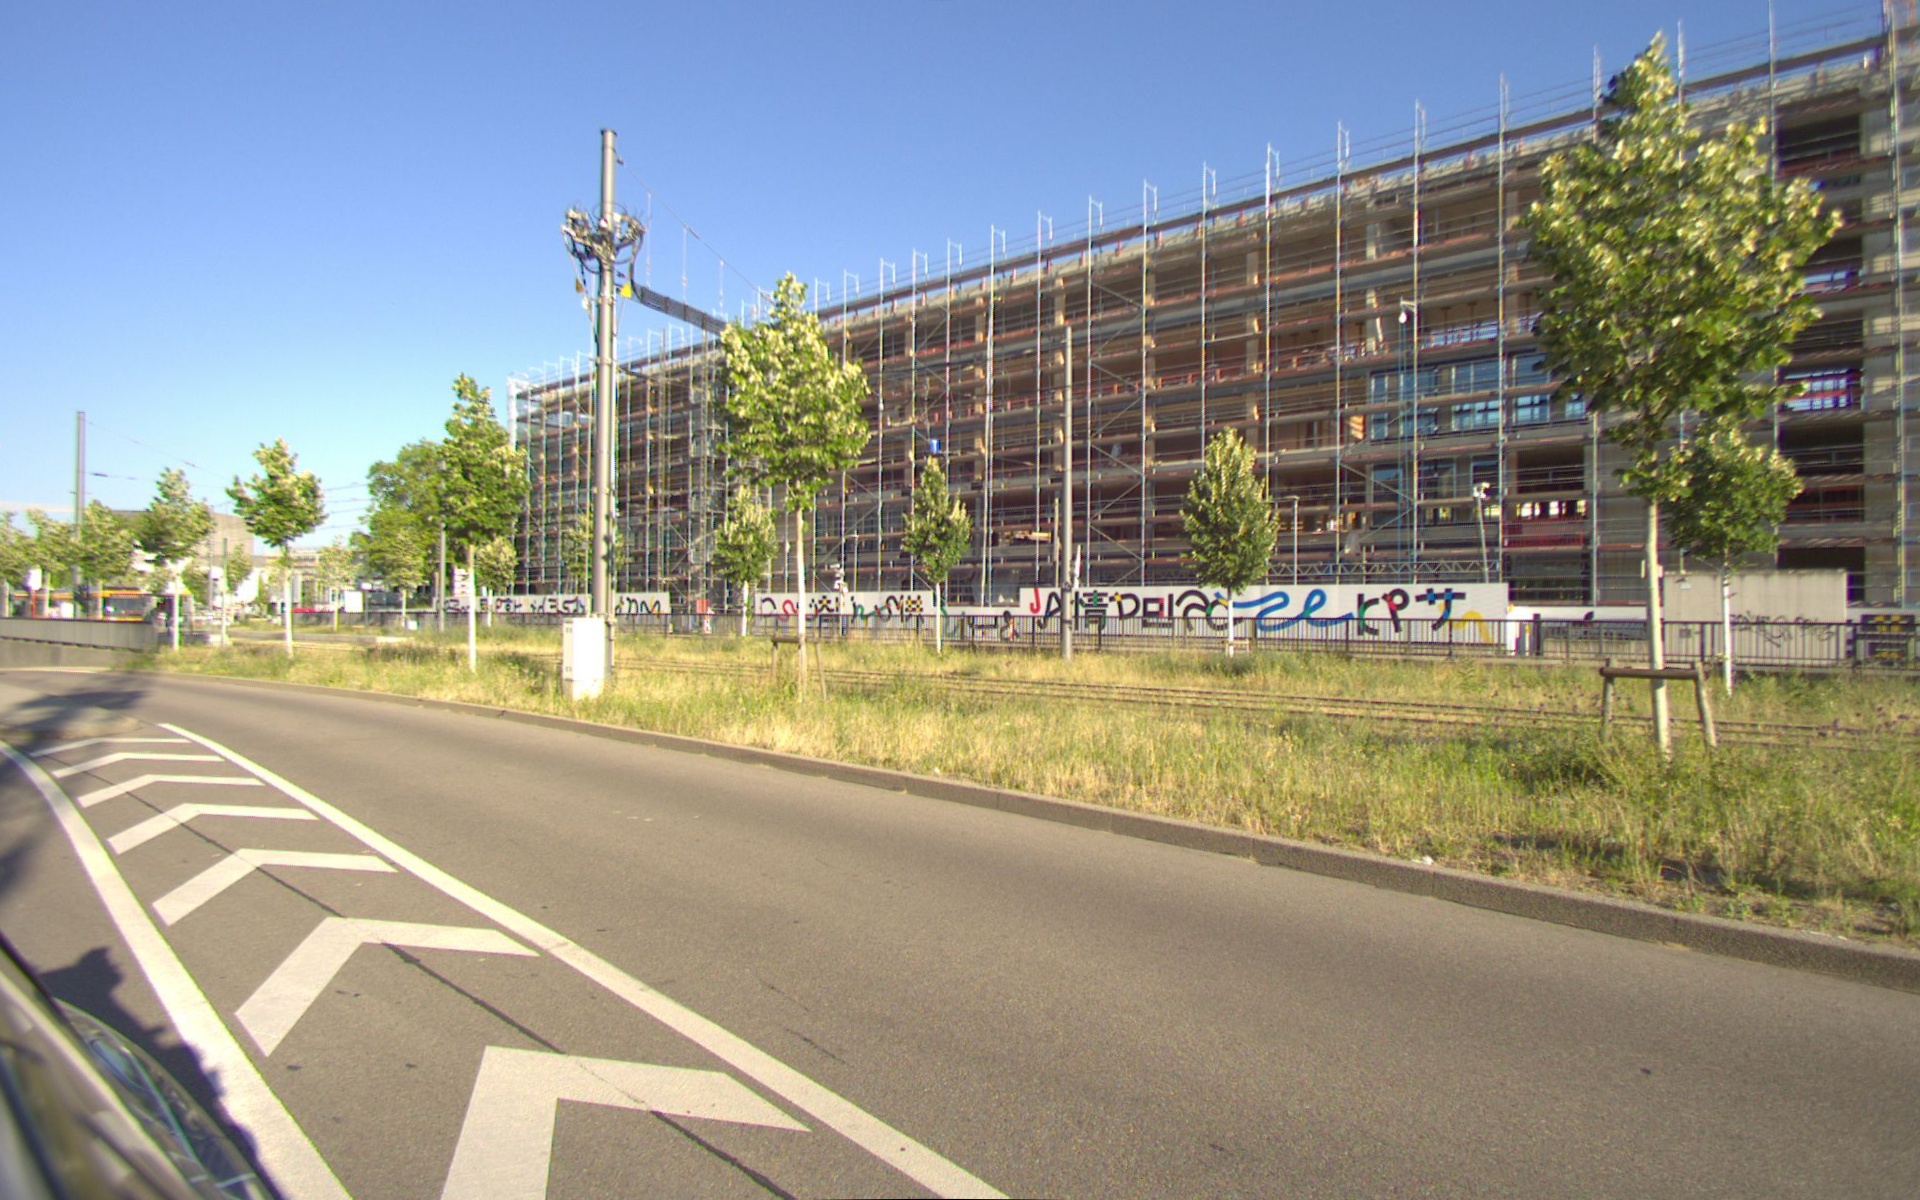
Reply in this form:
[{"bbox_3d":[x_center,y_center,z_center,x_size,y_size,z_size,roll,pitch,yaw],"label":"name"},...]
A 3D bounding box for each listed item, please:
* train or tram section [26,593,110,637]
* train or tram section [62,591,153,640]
[{"bbox_3d":[-74.700,1.166,84.584,14.750,3.423,2.917,0,0,39],"label":"train or tram section"},{"bbox_3d":[-64.116,1.088,75.972,12.620,3.423,2.917,0,0,39],"label":"train or tram section"}]
